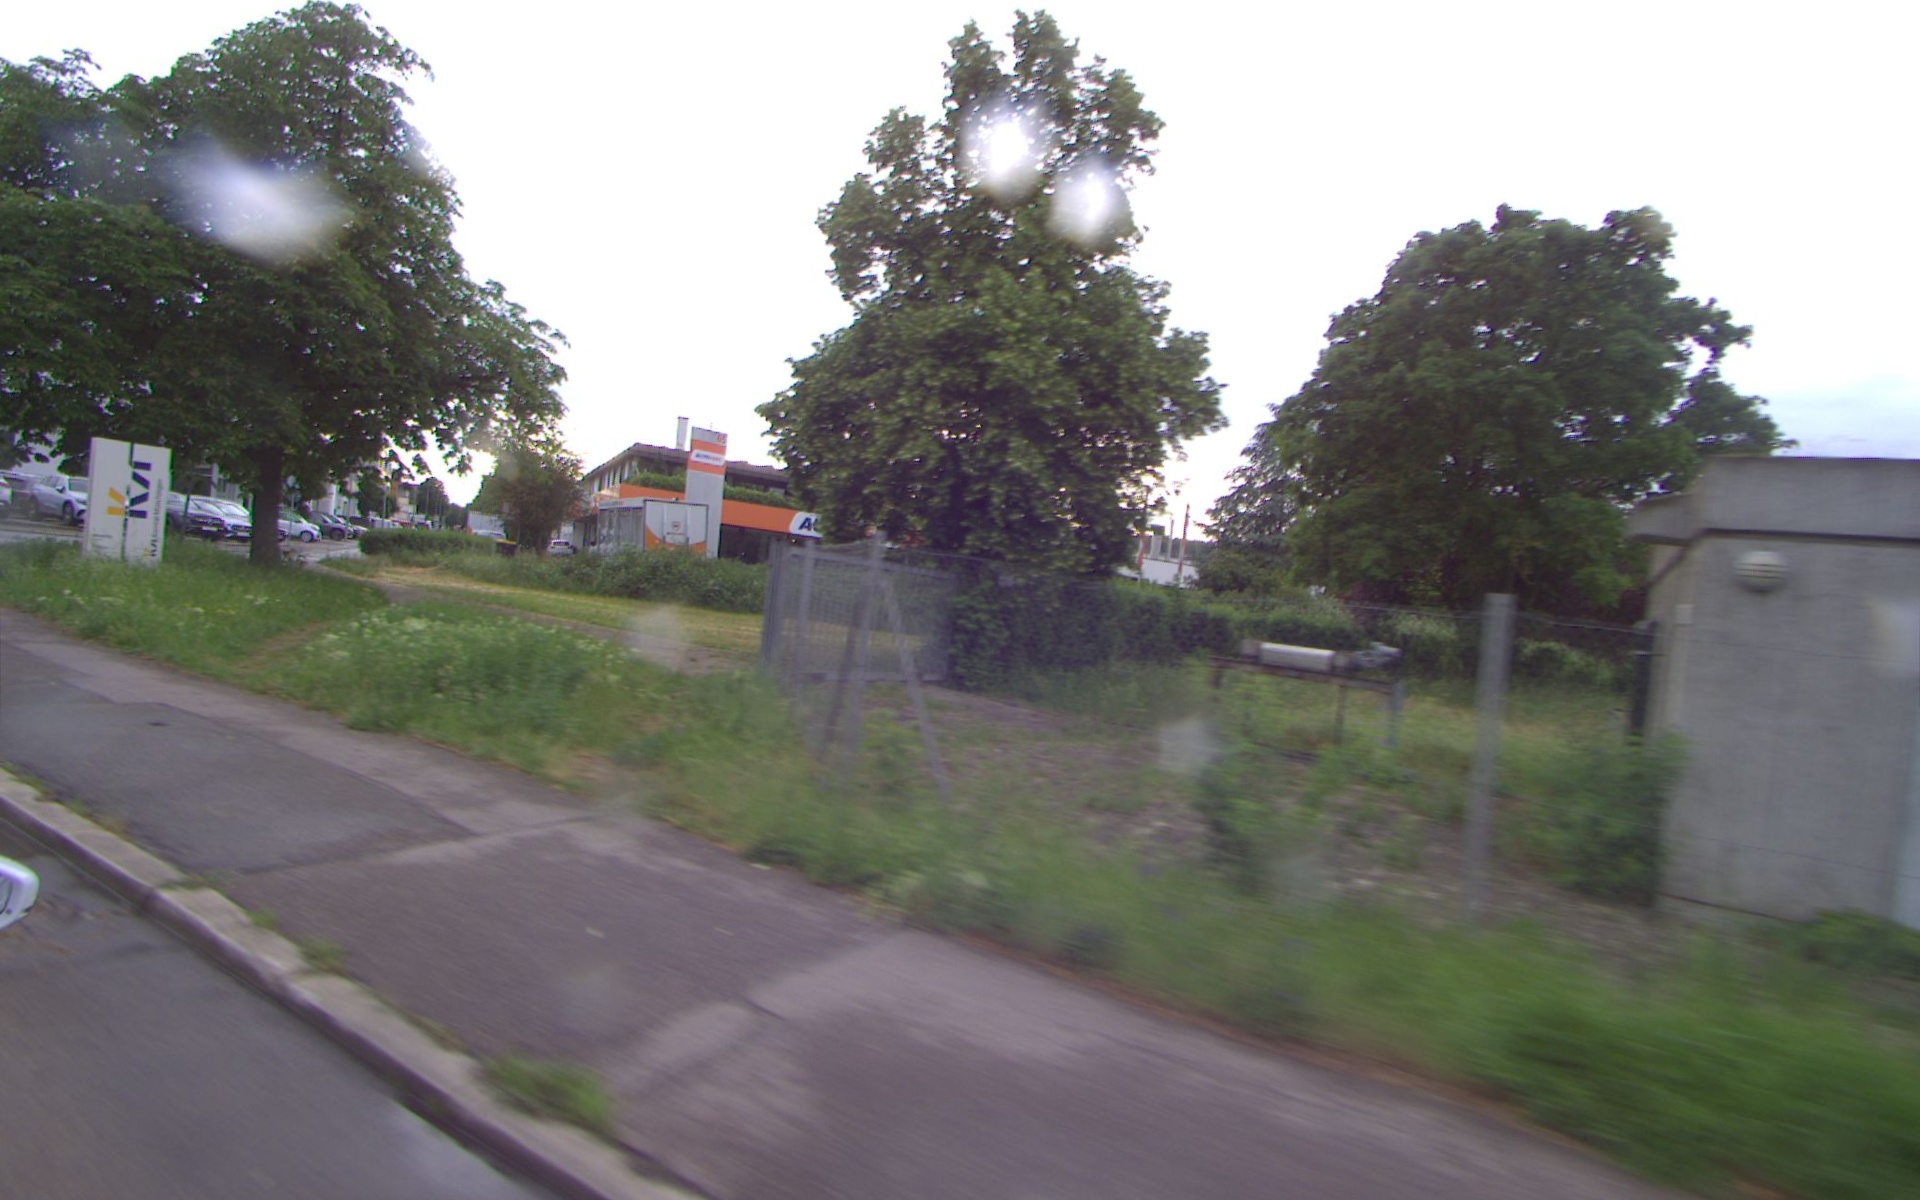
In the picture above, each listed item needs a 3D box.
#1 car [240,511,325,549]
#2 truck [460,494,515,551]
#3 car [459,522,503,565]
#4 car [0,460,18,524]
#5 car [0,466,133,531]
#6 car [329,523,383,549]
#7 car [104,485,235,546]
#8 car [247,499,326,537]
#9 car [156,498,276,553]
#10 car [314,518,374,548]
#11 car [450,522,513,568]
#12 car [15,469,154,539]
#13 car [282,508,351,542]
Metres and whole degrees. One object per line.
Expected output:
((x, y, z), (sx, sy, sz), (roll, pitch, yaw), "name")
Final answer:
((-37.502, -3.848, 55.766), (3.628, 1.391, 1.643), (9, -2, -30), "car")
((-32.134, -5.182, 68.612), (2.453, 3.028, 6.894), (8, -2, -20), "truck")
((-29.221, -3.387, 61.444), (1.900, 2.278, 4.271), (7, 0, -21), "car")
((-30.912, -3.513, 30.928), (4.196, 1.850, 1.829), (6, -2, 35), "car")
((-34.199, -3.827, 38.468), (1.900, 1.771, 4.609), (8, -1, -12), "car")
((-49.175, -5.179, 81.945), (3.631, 1.512, 1.642), (9, -2, -32), "car")
((-28.920, -3.084, 36.807), (4.534, 1.621, 1.656), (7, -2, 23), "car")
((-39.357, -4.795, 58.911), (3.631, 1.512, 1.642), (9, -2, -32), "car")
((-30.051, -3.001, 40.626), (4.534, 1.621, 1.656), (7, -2, 23), "car")
((-45.644, -4.950, 74.584), (3.631, 1.512, 1.642), (9, -2, -32), "car")
((-25.693, -2.958, 53.986), (1.770, 2.058, 4.241), (8, -1, -41), "car")
((-29.105, -3.204, 33.422), (4.540, 1.771, 1.941), (6, -2, 30), "car")
((-41.895, -4.841, 65.591), (3.631, 1.512, 1.642), (9, -2, -32), "car")
